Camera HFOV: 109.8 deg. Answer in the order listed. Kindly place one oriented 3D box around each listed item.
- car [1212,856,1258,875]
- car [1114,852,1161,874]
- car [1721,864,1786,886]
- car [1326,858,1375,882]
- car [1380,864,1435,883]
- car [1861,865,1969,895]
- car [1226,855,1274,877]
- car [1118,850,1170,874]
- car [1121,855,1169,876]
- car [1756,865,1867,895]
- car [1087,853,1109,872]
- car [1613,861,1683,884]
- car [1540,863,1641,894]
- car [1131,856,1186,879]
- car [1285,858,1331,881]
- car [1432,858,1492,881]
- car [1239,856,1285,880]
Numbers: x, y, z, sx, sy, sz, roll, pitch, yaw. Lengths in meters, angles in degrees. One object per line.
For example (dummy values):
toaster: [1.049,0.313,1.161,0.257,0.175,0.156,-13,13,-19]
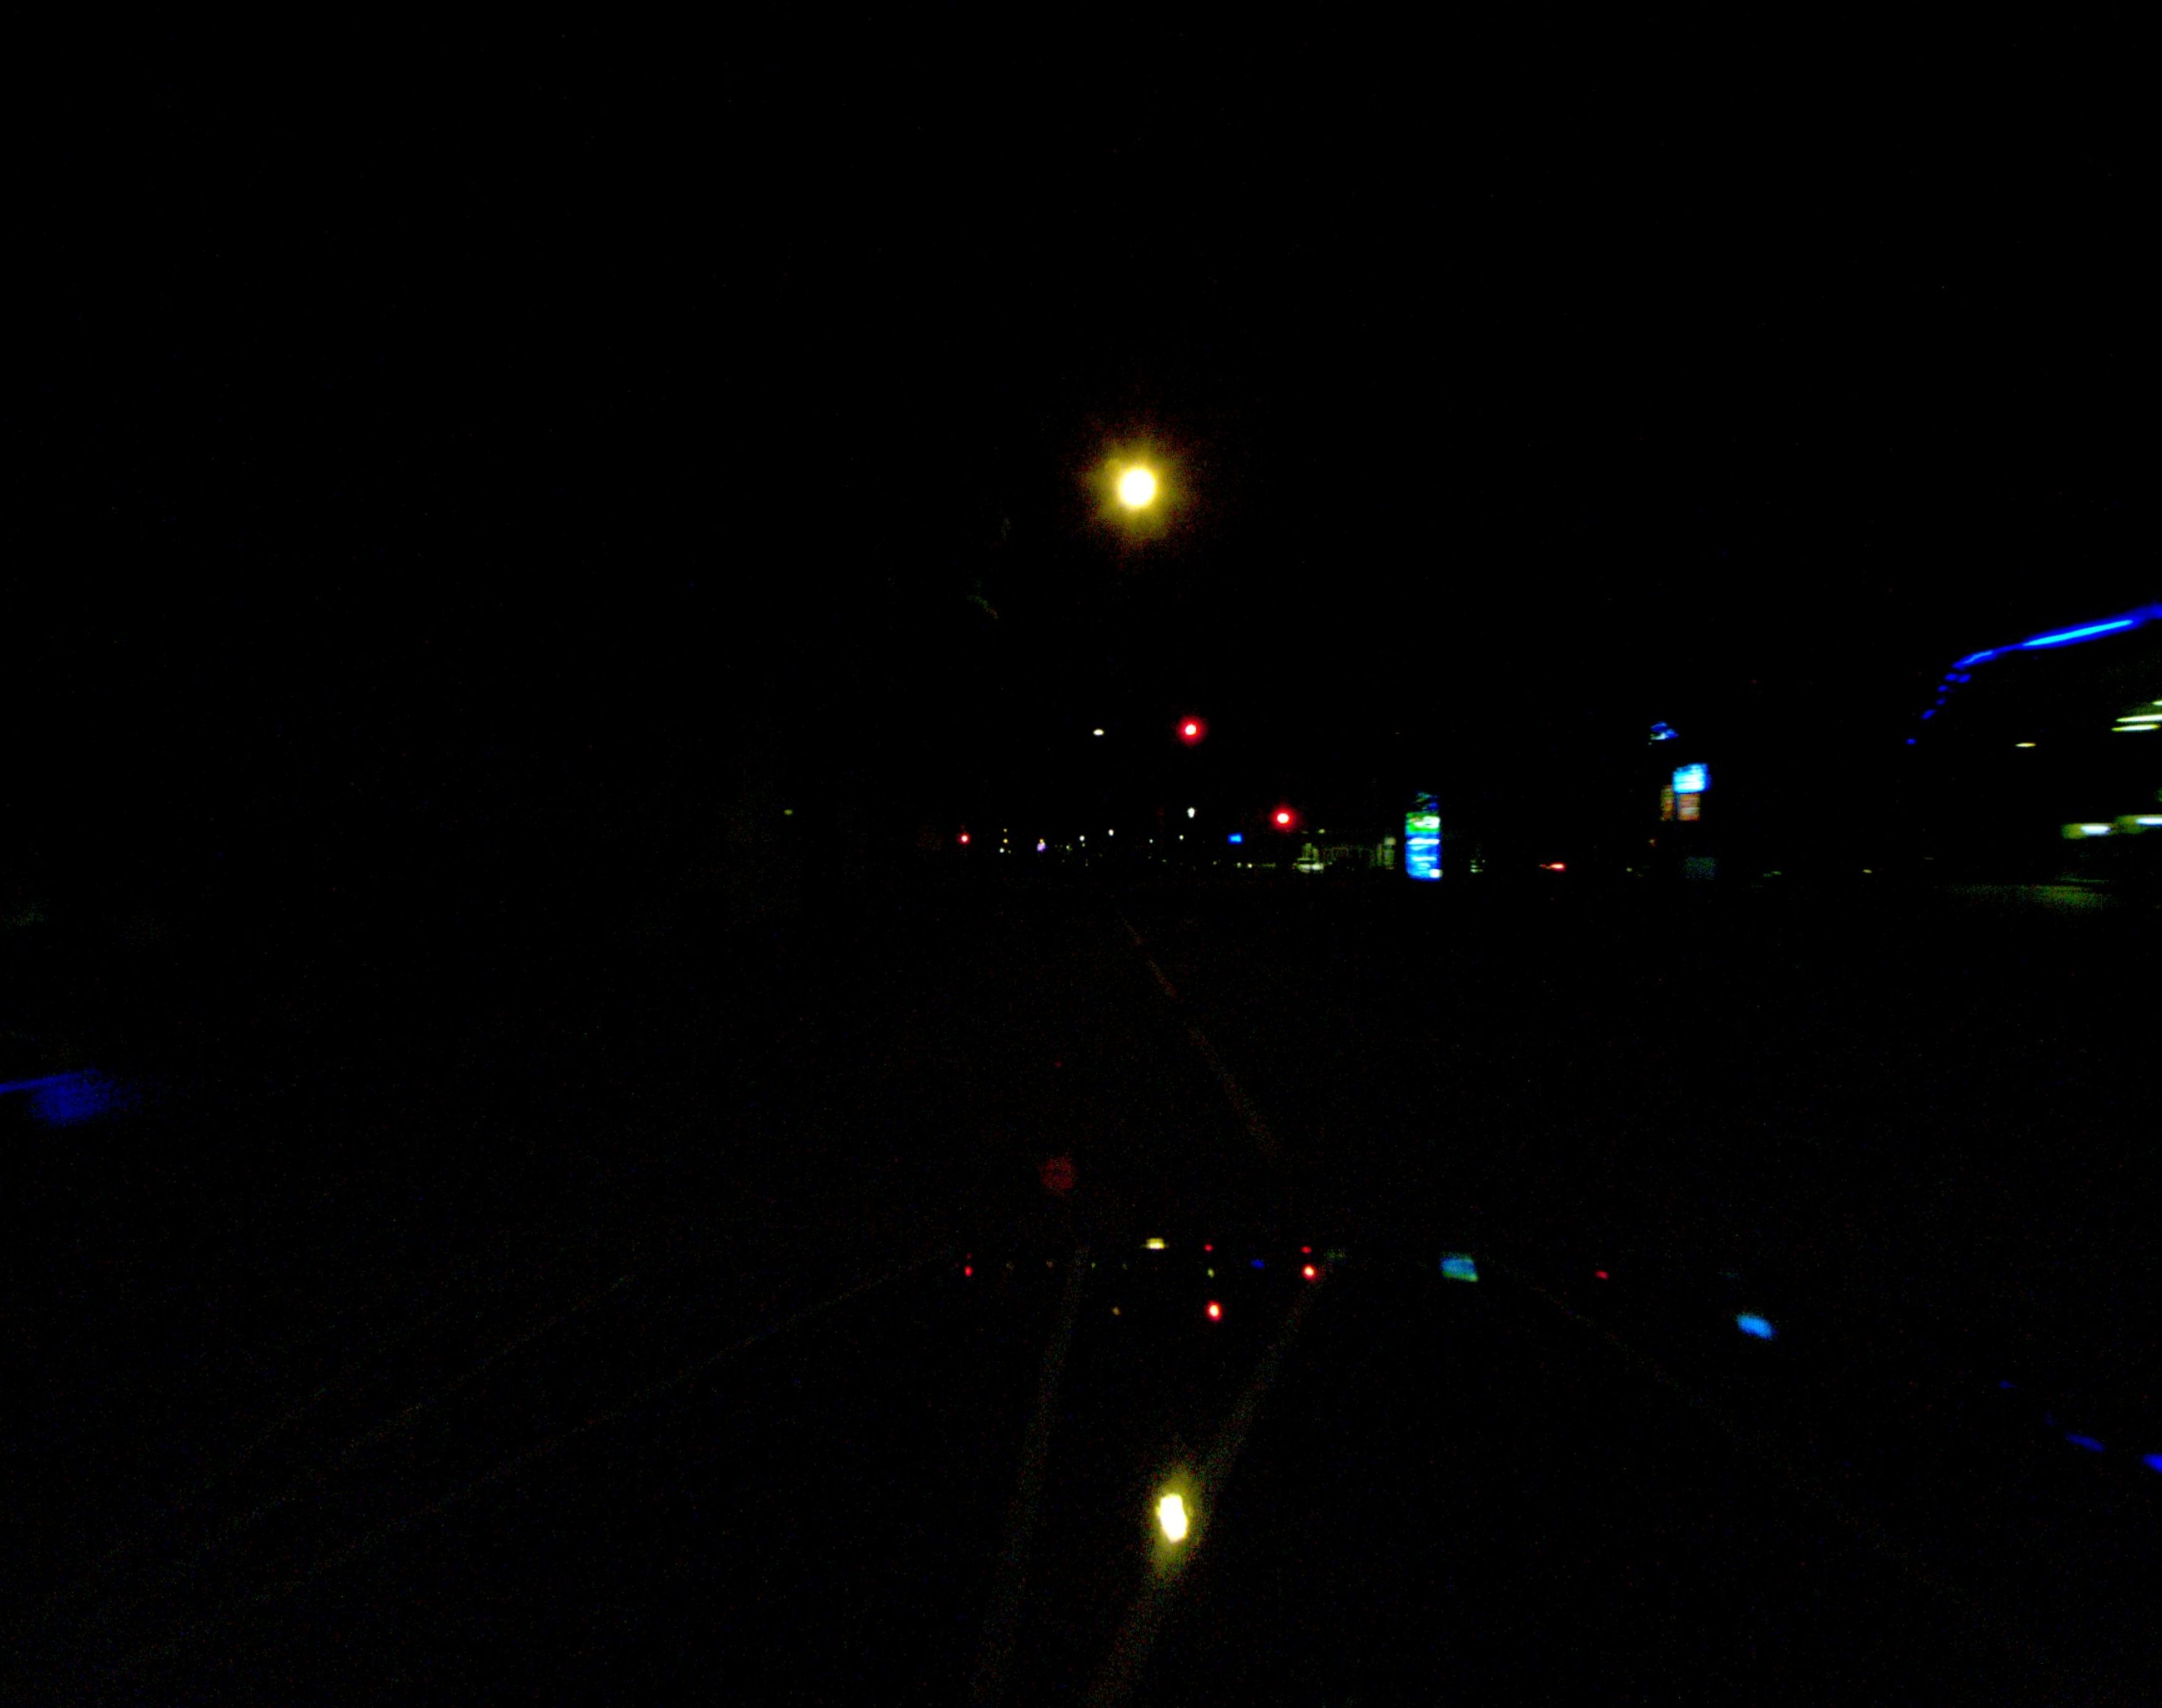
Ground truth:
car: [13.459,1.002,66.576,3.576,1.576,1.634,2,0,-1]
car: [4.878,0.801,65.709,3.848,1.781,1.634,2,0,-3]
car: [47.607,1.444,53.892,1.609,1.492,3.413,0,0,0]
car: [18.382,1.053,52.020,1.864,1.544,4.070,0,0,0]
car: [26.225,1.519,60.941,4.281,1.469,1.729,0,0,-27]
car: [41.387,1.254,37.757,3.569,1.403,1.682,-1,0,-1]
car: [14.010,0.987,63.161,3.575,1.689,1.634,2,0,0]
car: [5.223,0.650,63.181,4.055,1.879,1.634,2,0,-3]
car: [5.128,0.923,61.049,3.576,1.619,1.620,2,0,-3]
car: [36.046,1.266,37.551,3.851,1.403,1.736,-1,0,-1]
car: [1.539,0.762,70.207,1.936,1.646,3.833,1,0,0]
car: [37.996,1.197,51.047,1.765,1.469,3.958,0,0,0]
car: [27.478,1.315,41.051,4.312,1.550,1.686,-1,0,1]
car: [5.685,0.984,56.087,3.763,1.576,1.634,2,0,-3]
car: [15.337,1.044,51.584,1.864,1.452,4.070,-1,0,0]
car: [25.904,1.020,51.874,1.864,1.469,4.353,0,0,0]
car: [12.217,0.935,51.675,1.999,1.548,4.386,0,0,-1]
